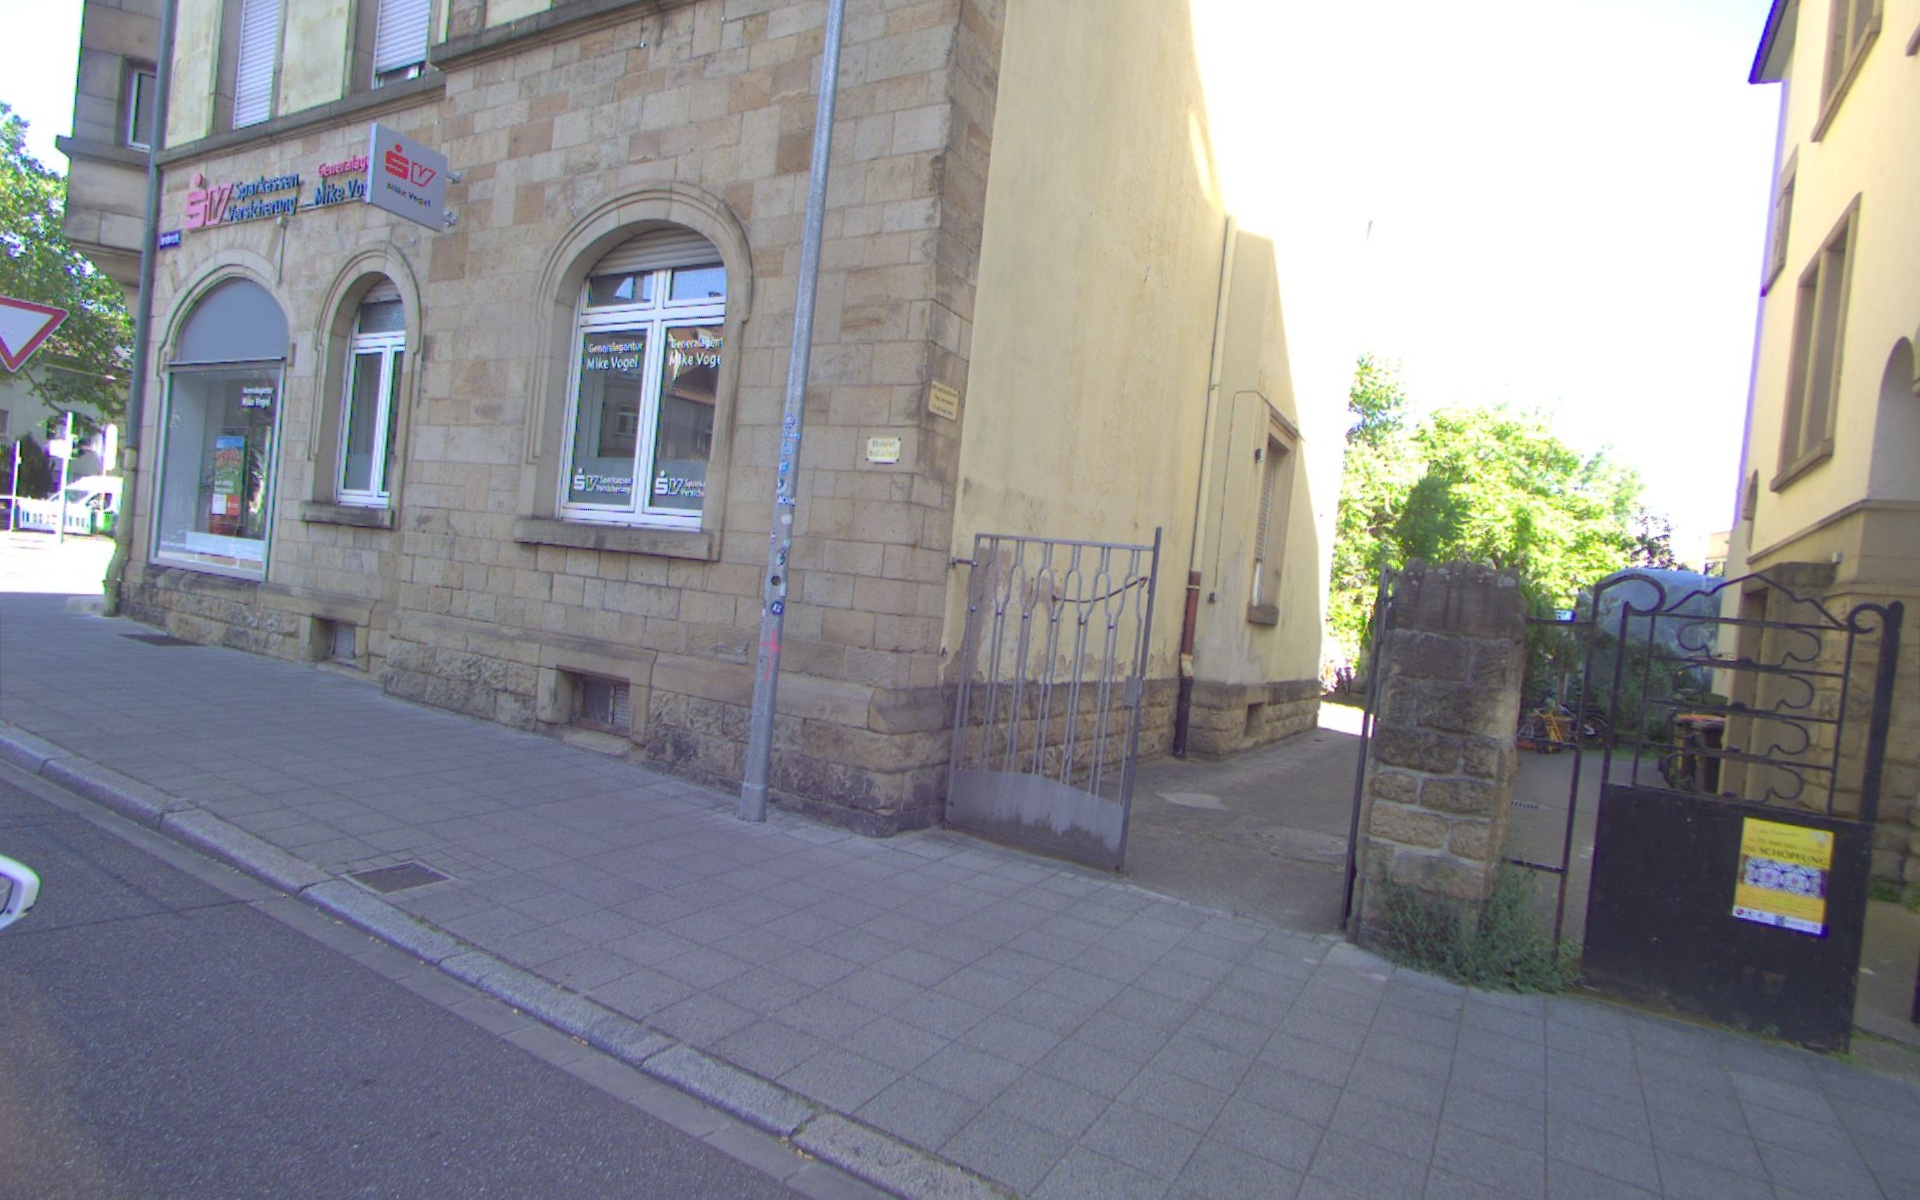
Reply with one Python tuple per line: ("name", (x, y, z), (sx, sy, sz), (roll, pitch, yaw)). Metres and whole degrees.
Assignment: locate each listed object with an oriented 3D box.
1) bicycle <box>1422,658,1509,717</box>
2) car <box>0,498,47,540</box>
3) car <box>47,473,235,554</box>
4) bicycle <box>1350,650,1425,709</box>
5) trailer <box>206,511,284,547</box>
("bicycle", (12.301, 2.105, 24.616), (0.855, 1.124, 2.864), (6, 0, 7))
("car", (-38.424, -3.310, 39.603), (1.496, 1.506, 3.391), (6, 0, 10))
("car", (-34.398, -3.563, 42.580), (1.962, 2.600, 6.061), (7, 0, 14))
("bicycle", (10.613, 1.948, 25.087), (0.860, 1.180, 2.659), (6, 0, 6))
("trailer", (-33.304, -3.300, 46.896), (1.246, 1.328, 2.749), (7, 0, 13))
